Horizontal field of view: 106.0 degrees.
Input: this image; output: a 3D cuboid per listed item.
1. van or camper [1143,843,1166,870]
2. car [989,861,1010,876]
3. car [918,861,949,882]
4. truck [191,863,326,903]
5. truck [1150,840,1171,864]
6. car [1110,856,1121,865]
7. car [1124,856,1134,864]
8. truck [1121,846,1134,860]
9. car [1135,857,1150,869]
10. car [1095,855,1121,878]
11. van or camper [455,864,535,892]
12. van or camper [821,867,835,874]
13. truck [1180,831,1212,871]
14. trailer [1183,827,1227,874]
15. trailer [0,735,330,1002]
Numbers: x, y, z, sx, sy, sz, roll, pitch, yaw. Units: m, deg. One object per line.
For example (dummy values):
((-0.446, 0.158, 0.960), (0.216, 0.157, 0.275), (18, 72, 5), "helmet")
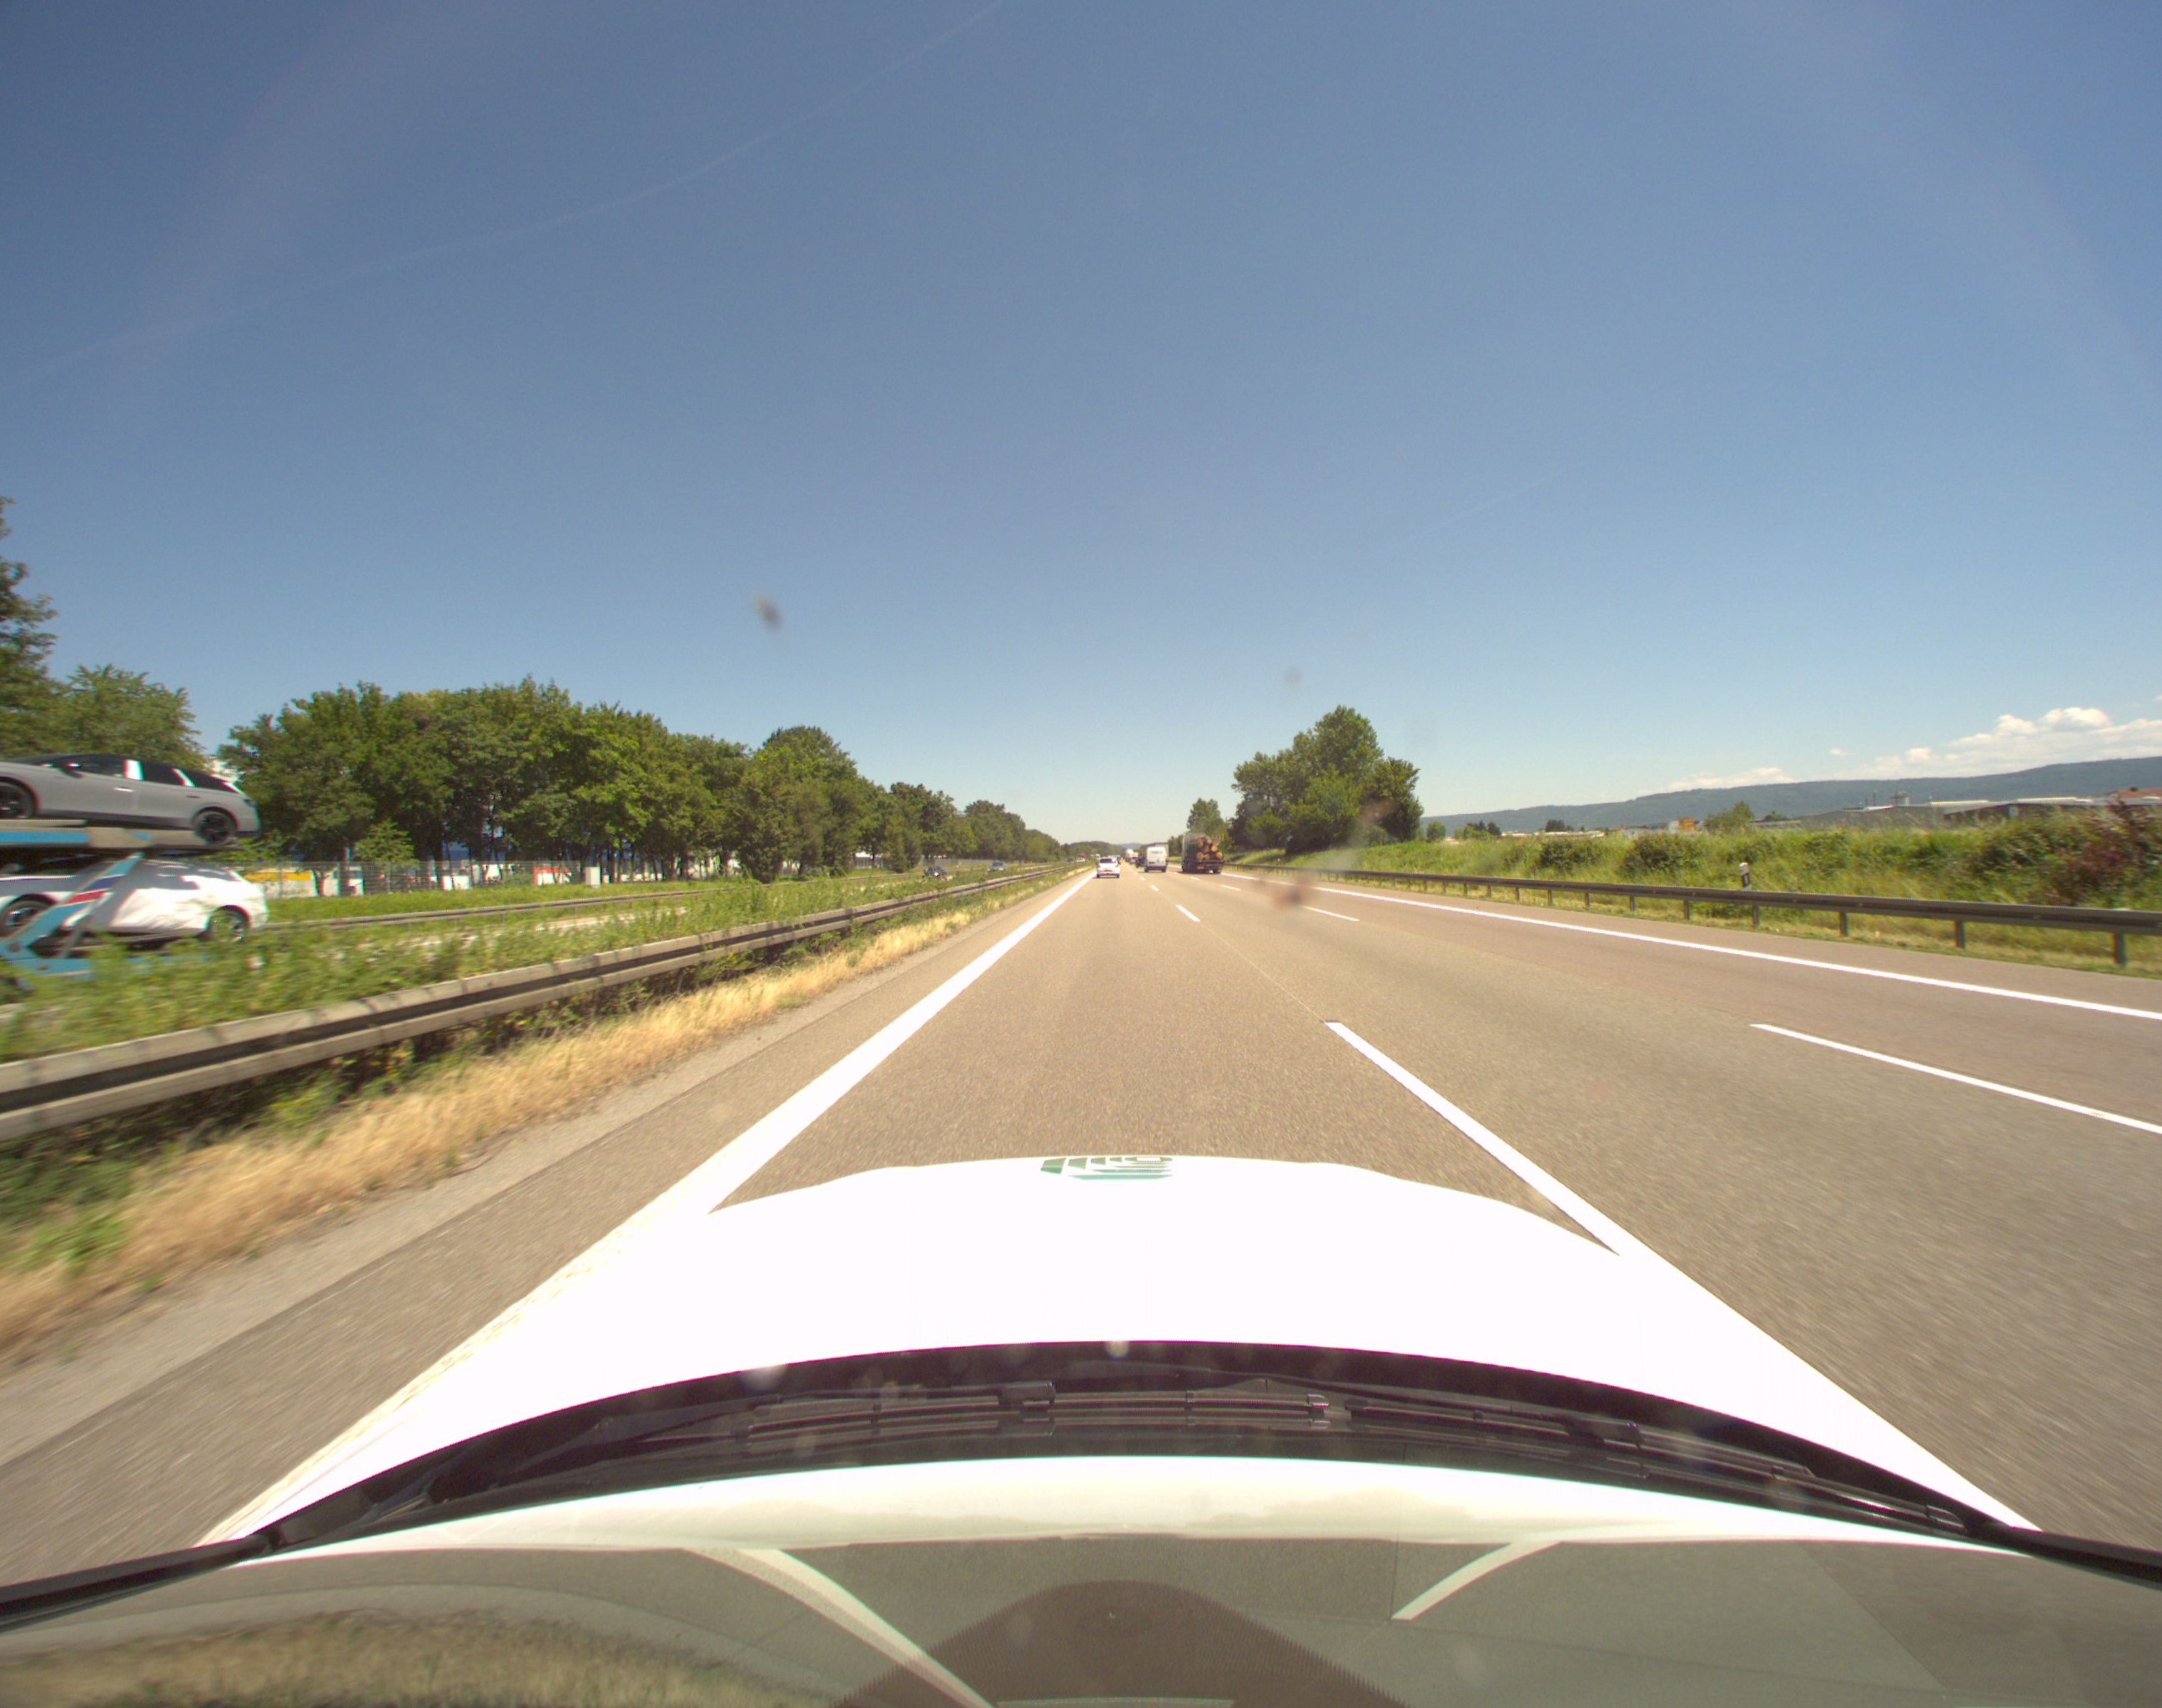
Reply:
((7.335, 0.260, 82.210), (2.050, 2.622, 5.989), (0, 0, 3), "van or camper")
((-8.965, 1.603, 90.118), (1.786, 1.578, 4.213), (-2, -1, 1), "car")
((-14.006, 1.641, 77.729), (1.986, 2.014, 4.274), (1, 0, 2), "car")
((-74.230, 2.538, 73.836), (3.535, 3.191, 8.301), (-3, 0, 3), "truck")
((14.606, -0.326, 150.384), (3.066, 4.209, 16.856), (1, 0, 3), "truck")
((6.312, 1.117, 148.902), (1.850, 1.652, 4.001), (0, 0, 1), "car")
((9.569, 1.171, 162.642), (1.850, 1.652, 4.001), (0, 0, 1), "car")
((14.708, -0.131, 257.547), (3.247, 4.209, 16.841), (1, 0, 0), "truck")
((8.642, 1.245, 114.844), (1.850, 1.652, 4.001), (0, 0, 1), "car")
((2.021, 0.889, 60.827), (1.850, 1.652, 4.001), (1, 0, 1), "car")
((-58.978, 2.386, 82.218), (2.349, 2.552, 7.726), (-2, 0, 1), "van or camper")
((-69.843, 4.497, 224.590), (1.985, 1.652, 5.023), (-2, 0, 3), "van or camper")
((11.866, -0.307, 84.214), (2.659, 3.994, 6.640), (0, 0, 3), "truck")
((11.512, -0.269, 76.907), (2.642, 3.958, 13.645), (0, 0, 3), "trailer")
((-17.616, 0.291, 8.418), (2.868, 3.978, 17.480), (-4, 0, 2), "trailer")
